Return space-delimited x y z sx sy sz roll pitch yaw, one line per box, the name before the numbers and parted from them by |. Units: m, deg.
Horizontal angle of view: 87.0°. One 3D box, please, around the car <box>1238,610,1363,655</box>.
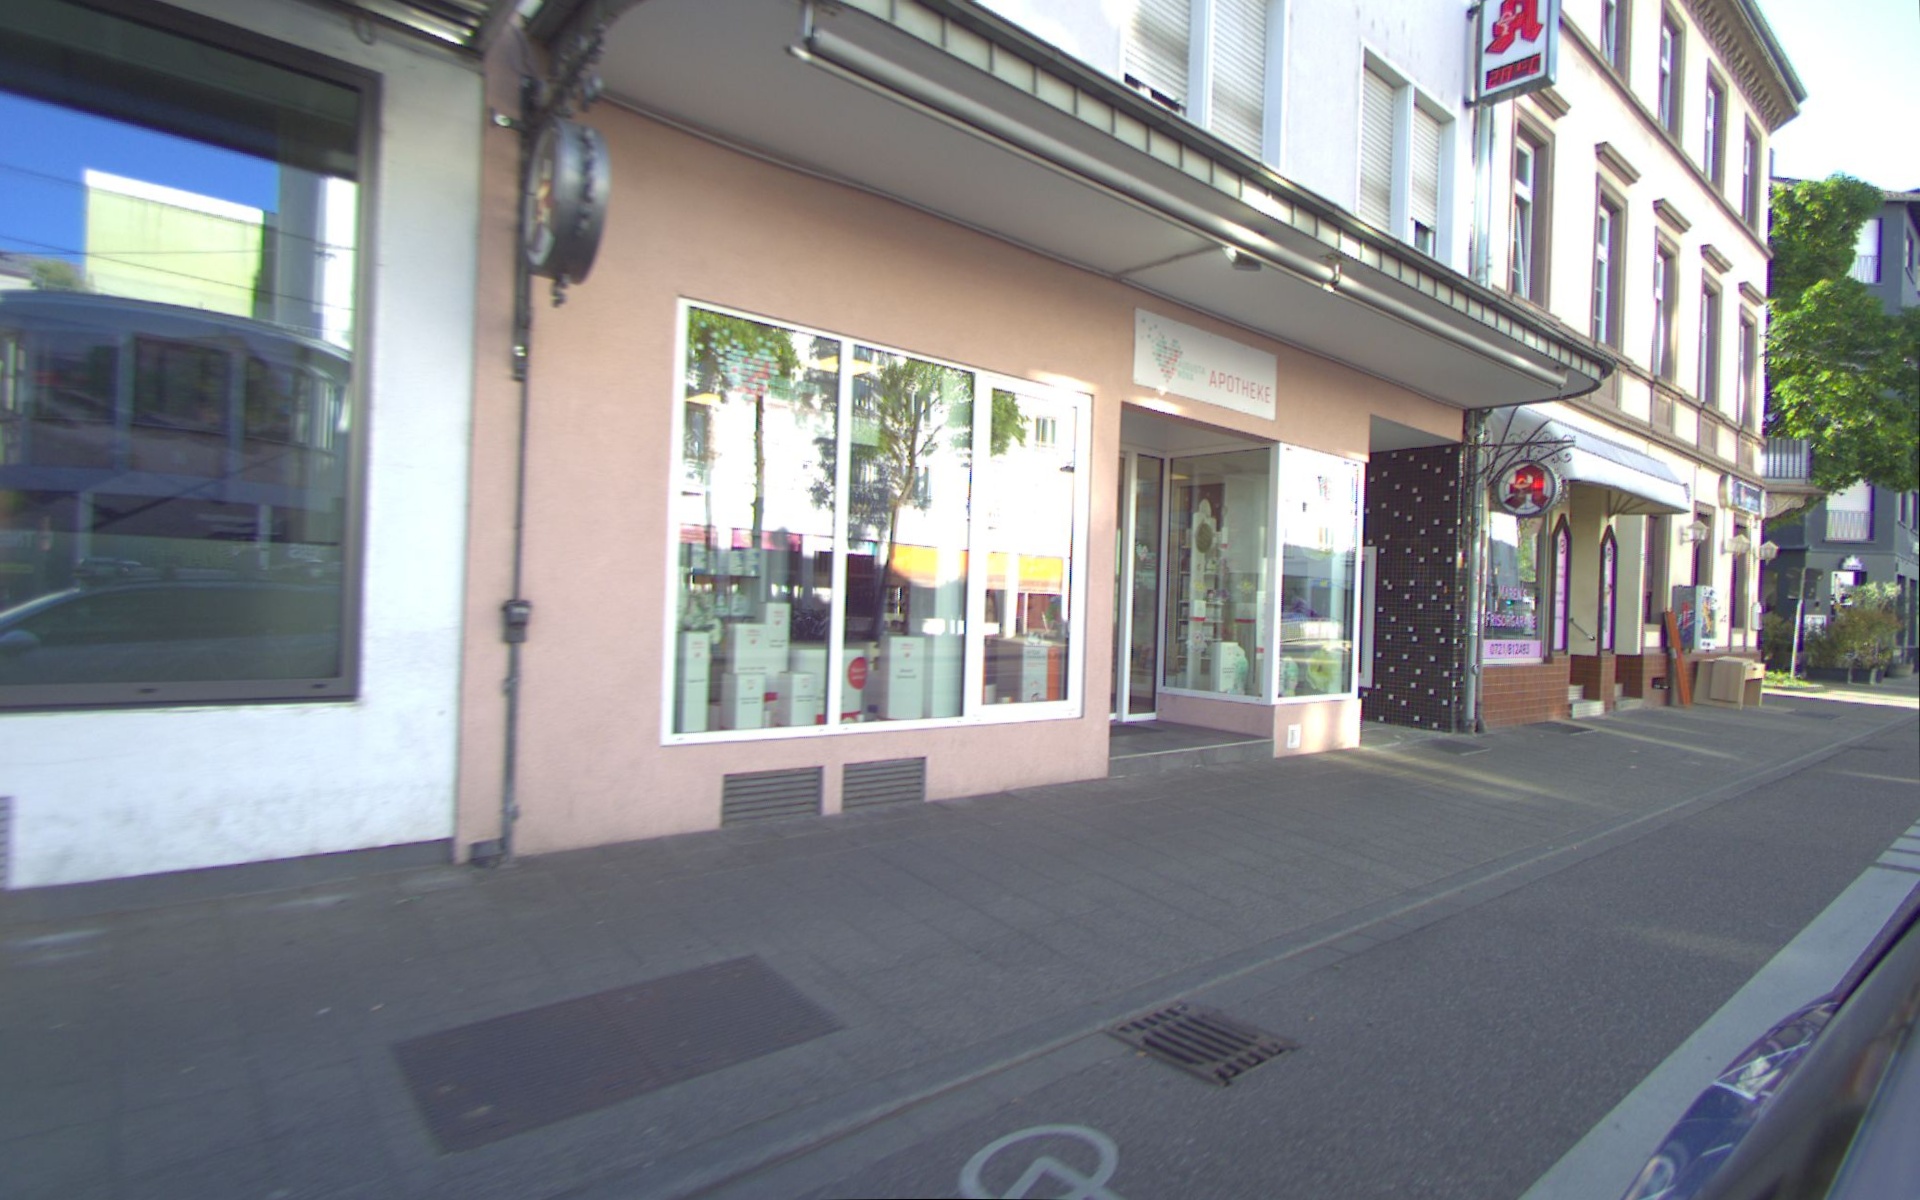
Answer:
car | 11.348 1.070 33.766 3.581 1.379 1.650 2 0 -14
